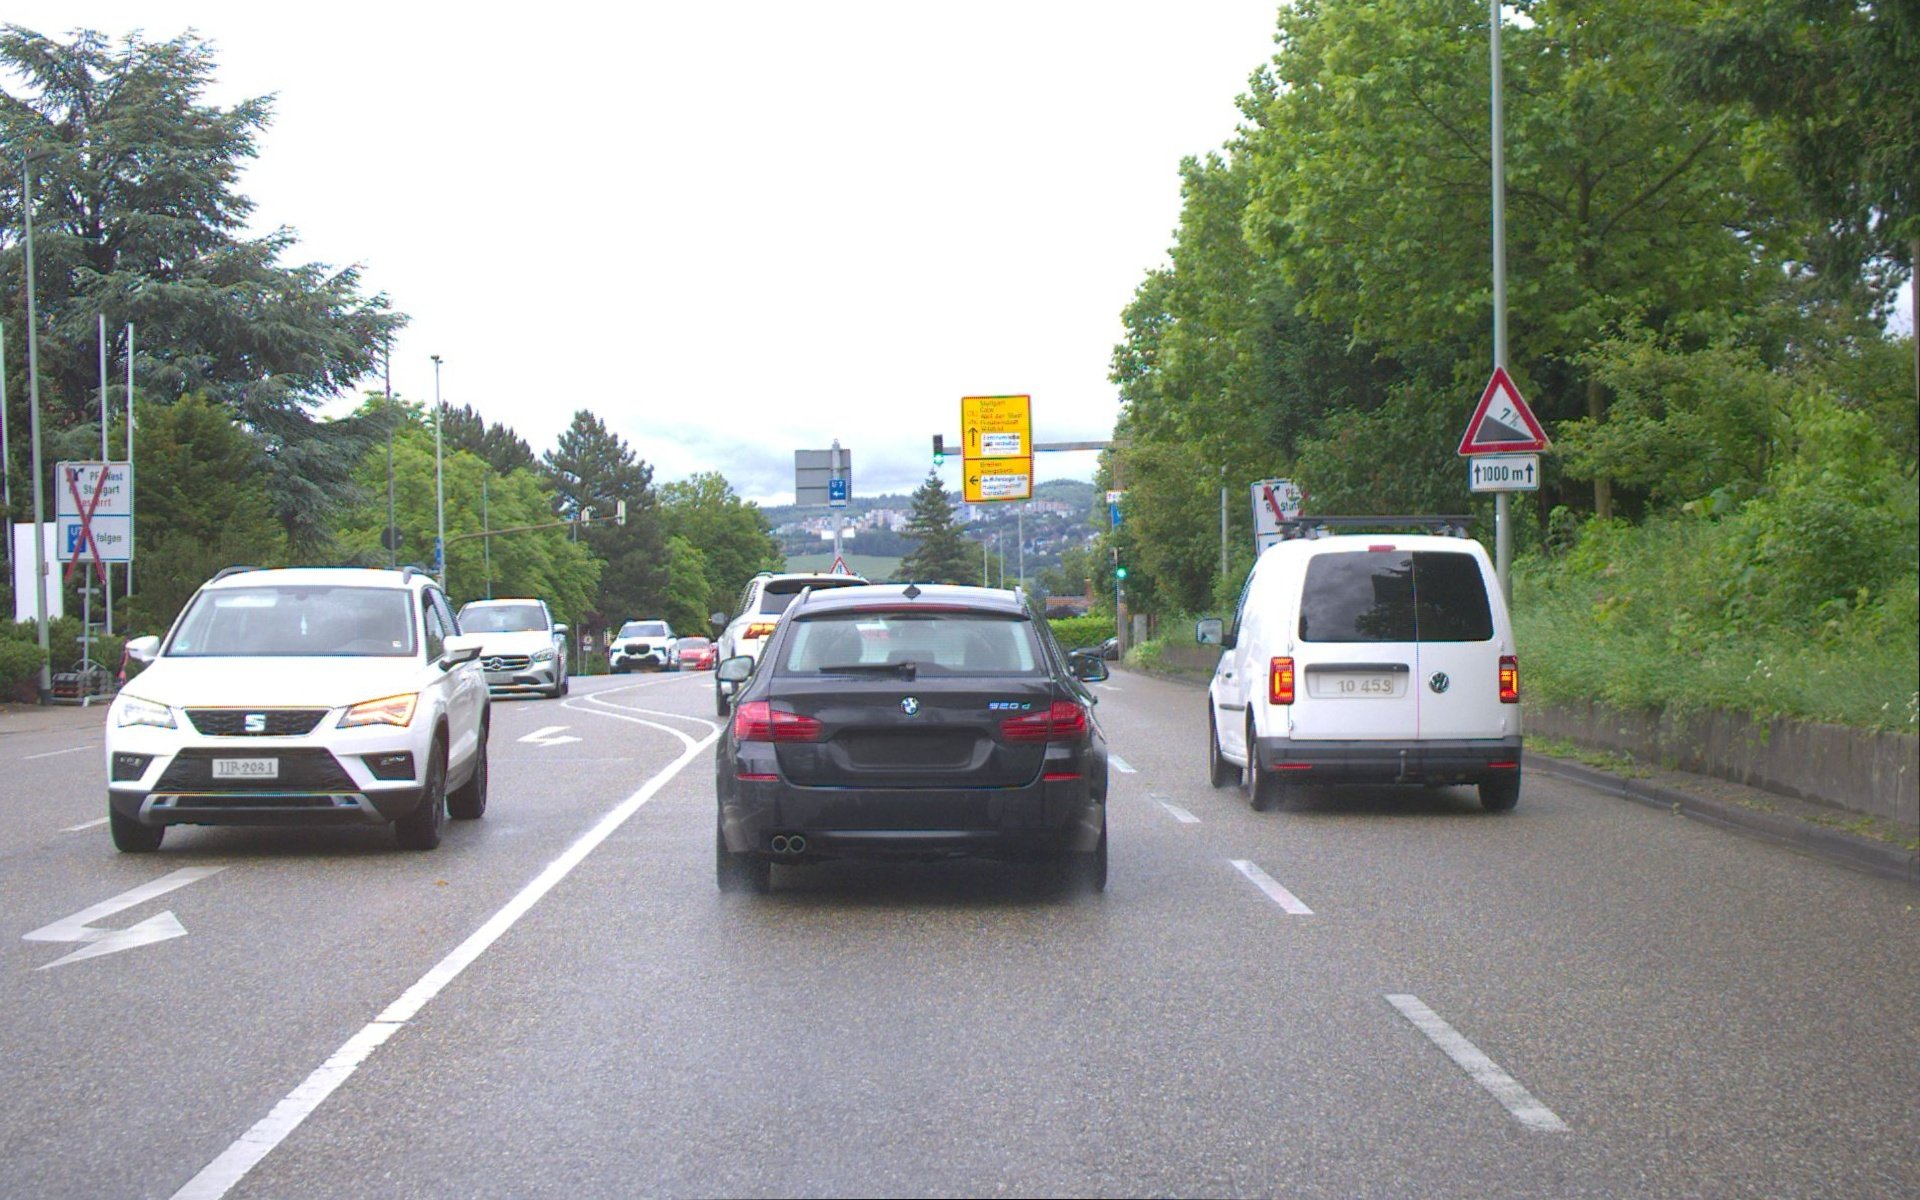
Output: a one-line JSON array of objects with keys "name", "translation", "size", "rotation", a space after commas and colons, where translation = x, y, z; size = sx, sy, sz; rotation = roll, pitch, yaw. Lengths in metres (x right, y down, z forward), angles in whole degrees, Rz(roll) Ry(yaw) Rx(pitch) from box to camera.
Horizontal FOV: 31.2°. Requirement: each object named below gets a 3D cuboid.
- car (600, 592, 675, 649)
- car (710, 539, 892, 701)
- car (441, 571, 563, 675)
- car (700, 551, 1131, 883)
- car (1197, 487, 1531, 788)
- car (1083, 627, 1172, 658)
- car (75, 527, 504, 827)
[{"name": "car", "translation": [-10.769, 0.689, 114.991], "size": [1.917, 1.757, 5.143], "rotation": [-3, 0, 0]}, {"name": "car", "translation": [-1.755, 0.182, 39.154], "size": [1.868, 1.668, 4.000], "rotation": [0, 2, 0]}, {"name": "car", "translation": [-7.056, 0.351, 53.238], "size": [1.749, 1.503, 4.303], "rotation": [-1, 0, -6]}, {"name": "car", "translation": [-0.194, 0.490, 17.198], "size": [1.899, 1.436, 4.000], "rotation": [0, 1, 0]}, {"name": "car", "translation": [2.662, 0.176, 23.431], "size": [1.764, 1.871, 3.806], "rotation": [0, 2, -1]}, {"name": "car", "translation": [7.638, 1.930, 156.443], "size": [3.987, 1.372, 1.585], "rotation": [0, -1, 4]}, {"name": "car", "translation": [-3.863, 0.405, 20.484], "size": [1.787, 1.575, 4.239], "rotation": [-1, 0, -1]}]
